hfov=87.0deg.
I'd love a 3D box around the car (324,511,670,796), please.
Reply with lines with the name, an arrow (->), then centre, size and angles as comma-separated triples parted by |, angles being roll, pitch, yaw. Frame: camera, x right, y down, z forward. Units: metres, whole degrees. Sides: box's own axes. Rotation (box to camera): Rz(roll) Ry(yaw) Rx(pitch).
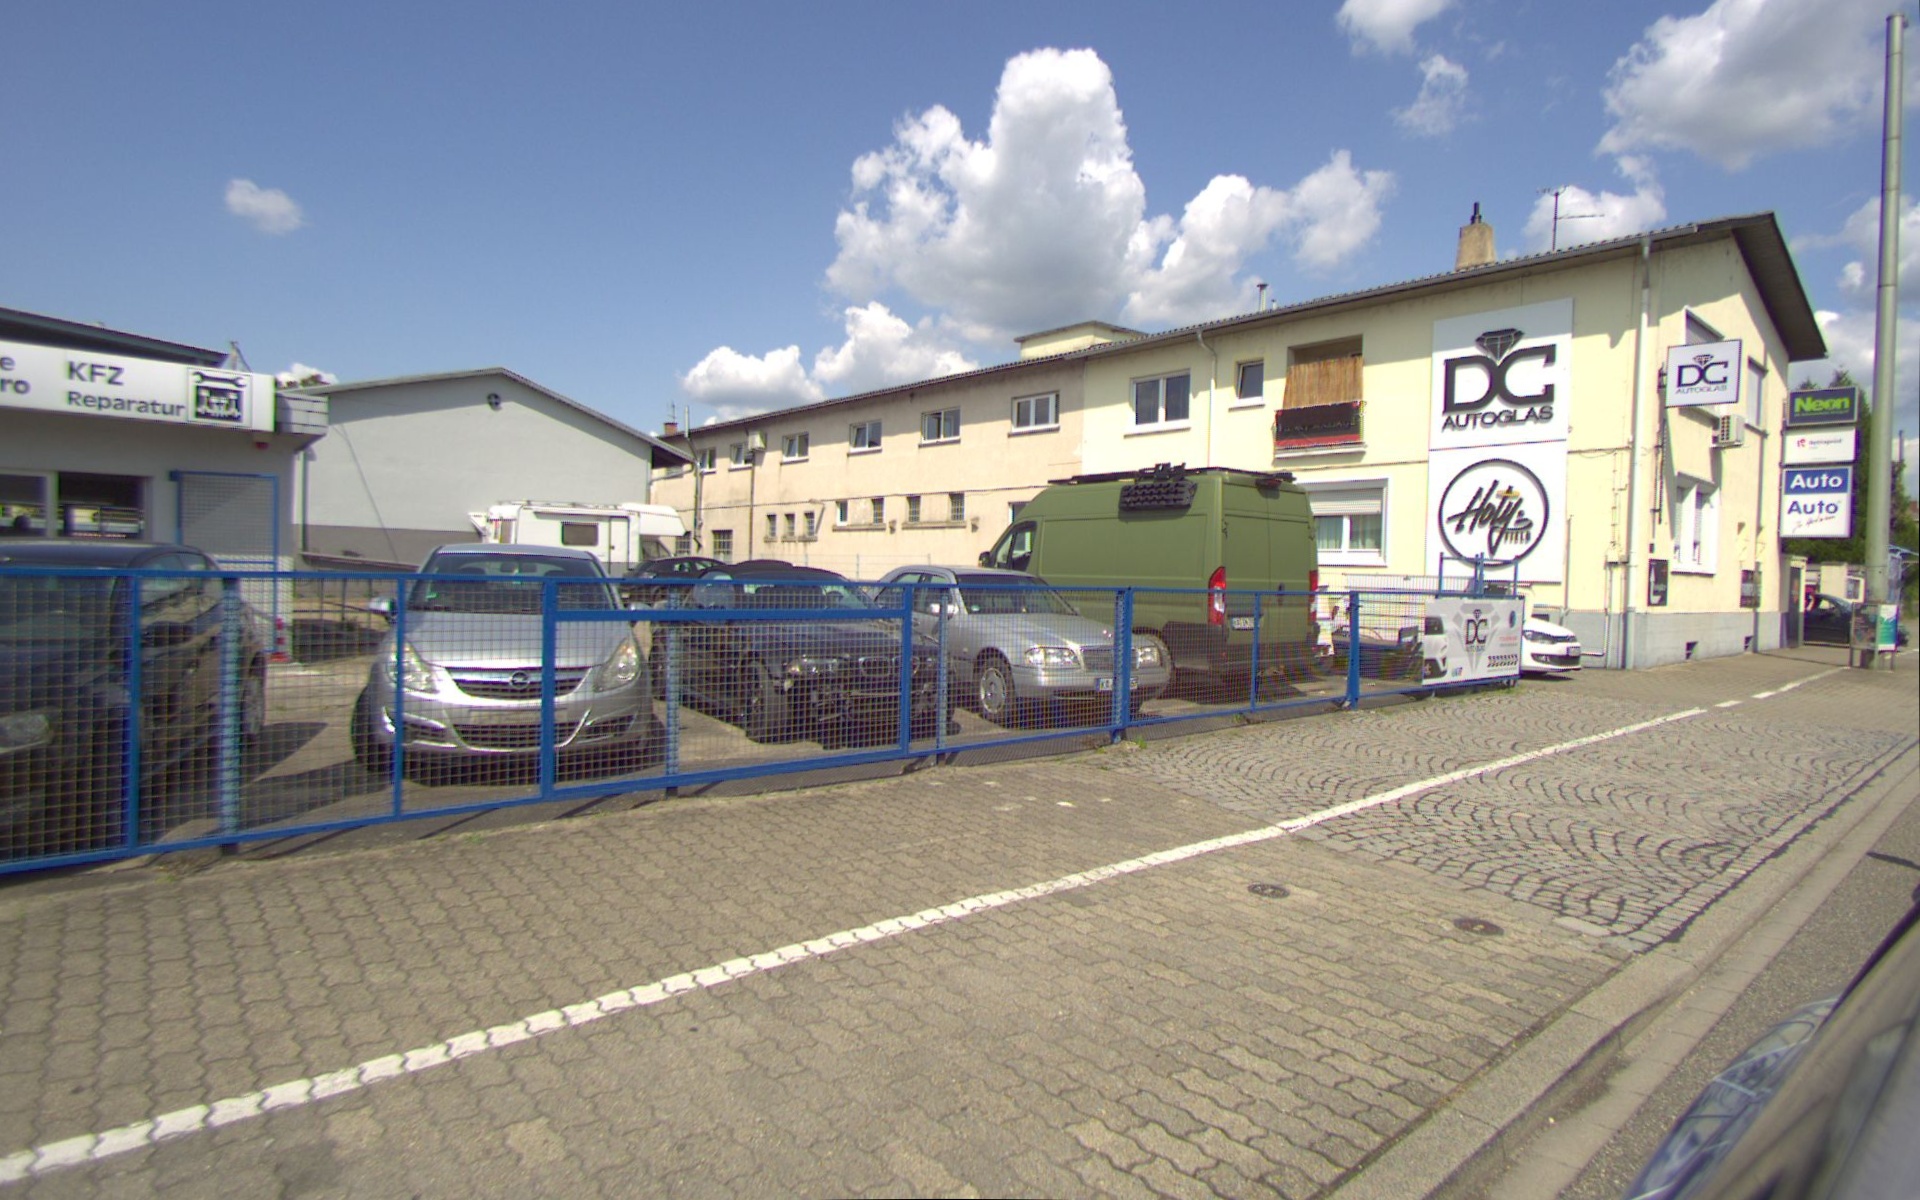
car -> -3.451, 0.263, 7.736 | 1.789, 1.524, 4.271 | -1, 1, -24

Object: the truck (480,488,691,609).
truck -> -10.241, -1.395, 27.892 | 5.000, 3.045, 2.158 | -1, 4, -42

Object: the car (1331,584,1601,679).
car -> 8.211, 0.445, 16.705 | 1.490, 1.375, 3.727 | -1, 1, -37

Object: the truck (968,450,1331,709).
truck -> 2.223, -0.232, 12.804 | 2.071, 2.694, 4.180 | -1, 0, -39

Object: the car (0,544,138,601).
car -> -29.029, -0.857, 32.871 | 3.537, 1.764, 1.538 | 1, 0, -43

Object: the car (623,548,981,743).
car -> -1.711, 0.280, 9.480 | 1.707, 1.391, 4.265 | 0, 1, -33

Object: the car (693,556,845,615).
car -> -4.447, -0.345, 23.749 | 3.219, 1.278, 1.452 | -1, 1, -40

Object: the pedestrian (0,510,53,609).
pedestrian -> -12.908, -0.541, 13.866 | 0.697, 1.318, 0.626 | 0, 0, 40

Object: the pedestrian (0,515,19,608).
pedestrian -> -13.873, -0.539, 14.369 | 0.687, 1.318, 0.635 | -1, 0, -38

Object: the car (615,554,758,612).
car -> -6.985, -0.437, 25.986 | 3.268, 1.396, 1.425 | -1, 1, -40

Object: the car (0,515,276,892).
car -> -5.082, 0.304, 5.491 | 1.592, 1.480, 3.919 | -1, 3, -24

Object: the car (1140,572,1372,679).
car -> 4.242, 0.291, 14.820 | 1.309, 1.290, 3.034 | -1, 4, -39

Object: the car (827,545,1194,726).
car -> 0.303, 0.280, 10.827 | 1.792, 1.527, 4.265 | -1, 1, -33
